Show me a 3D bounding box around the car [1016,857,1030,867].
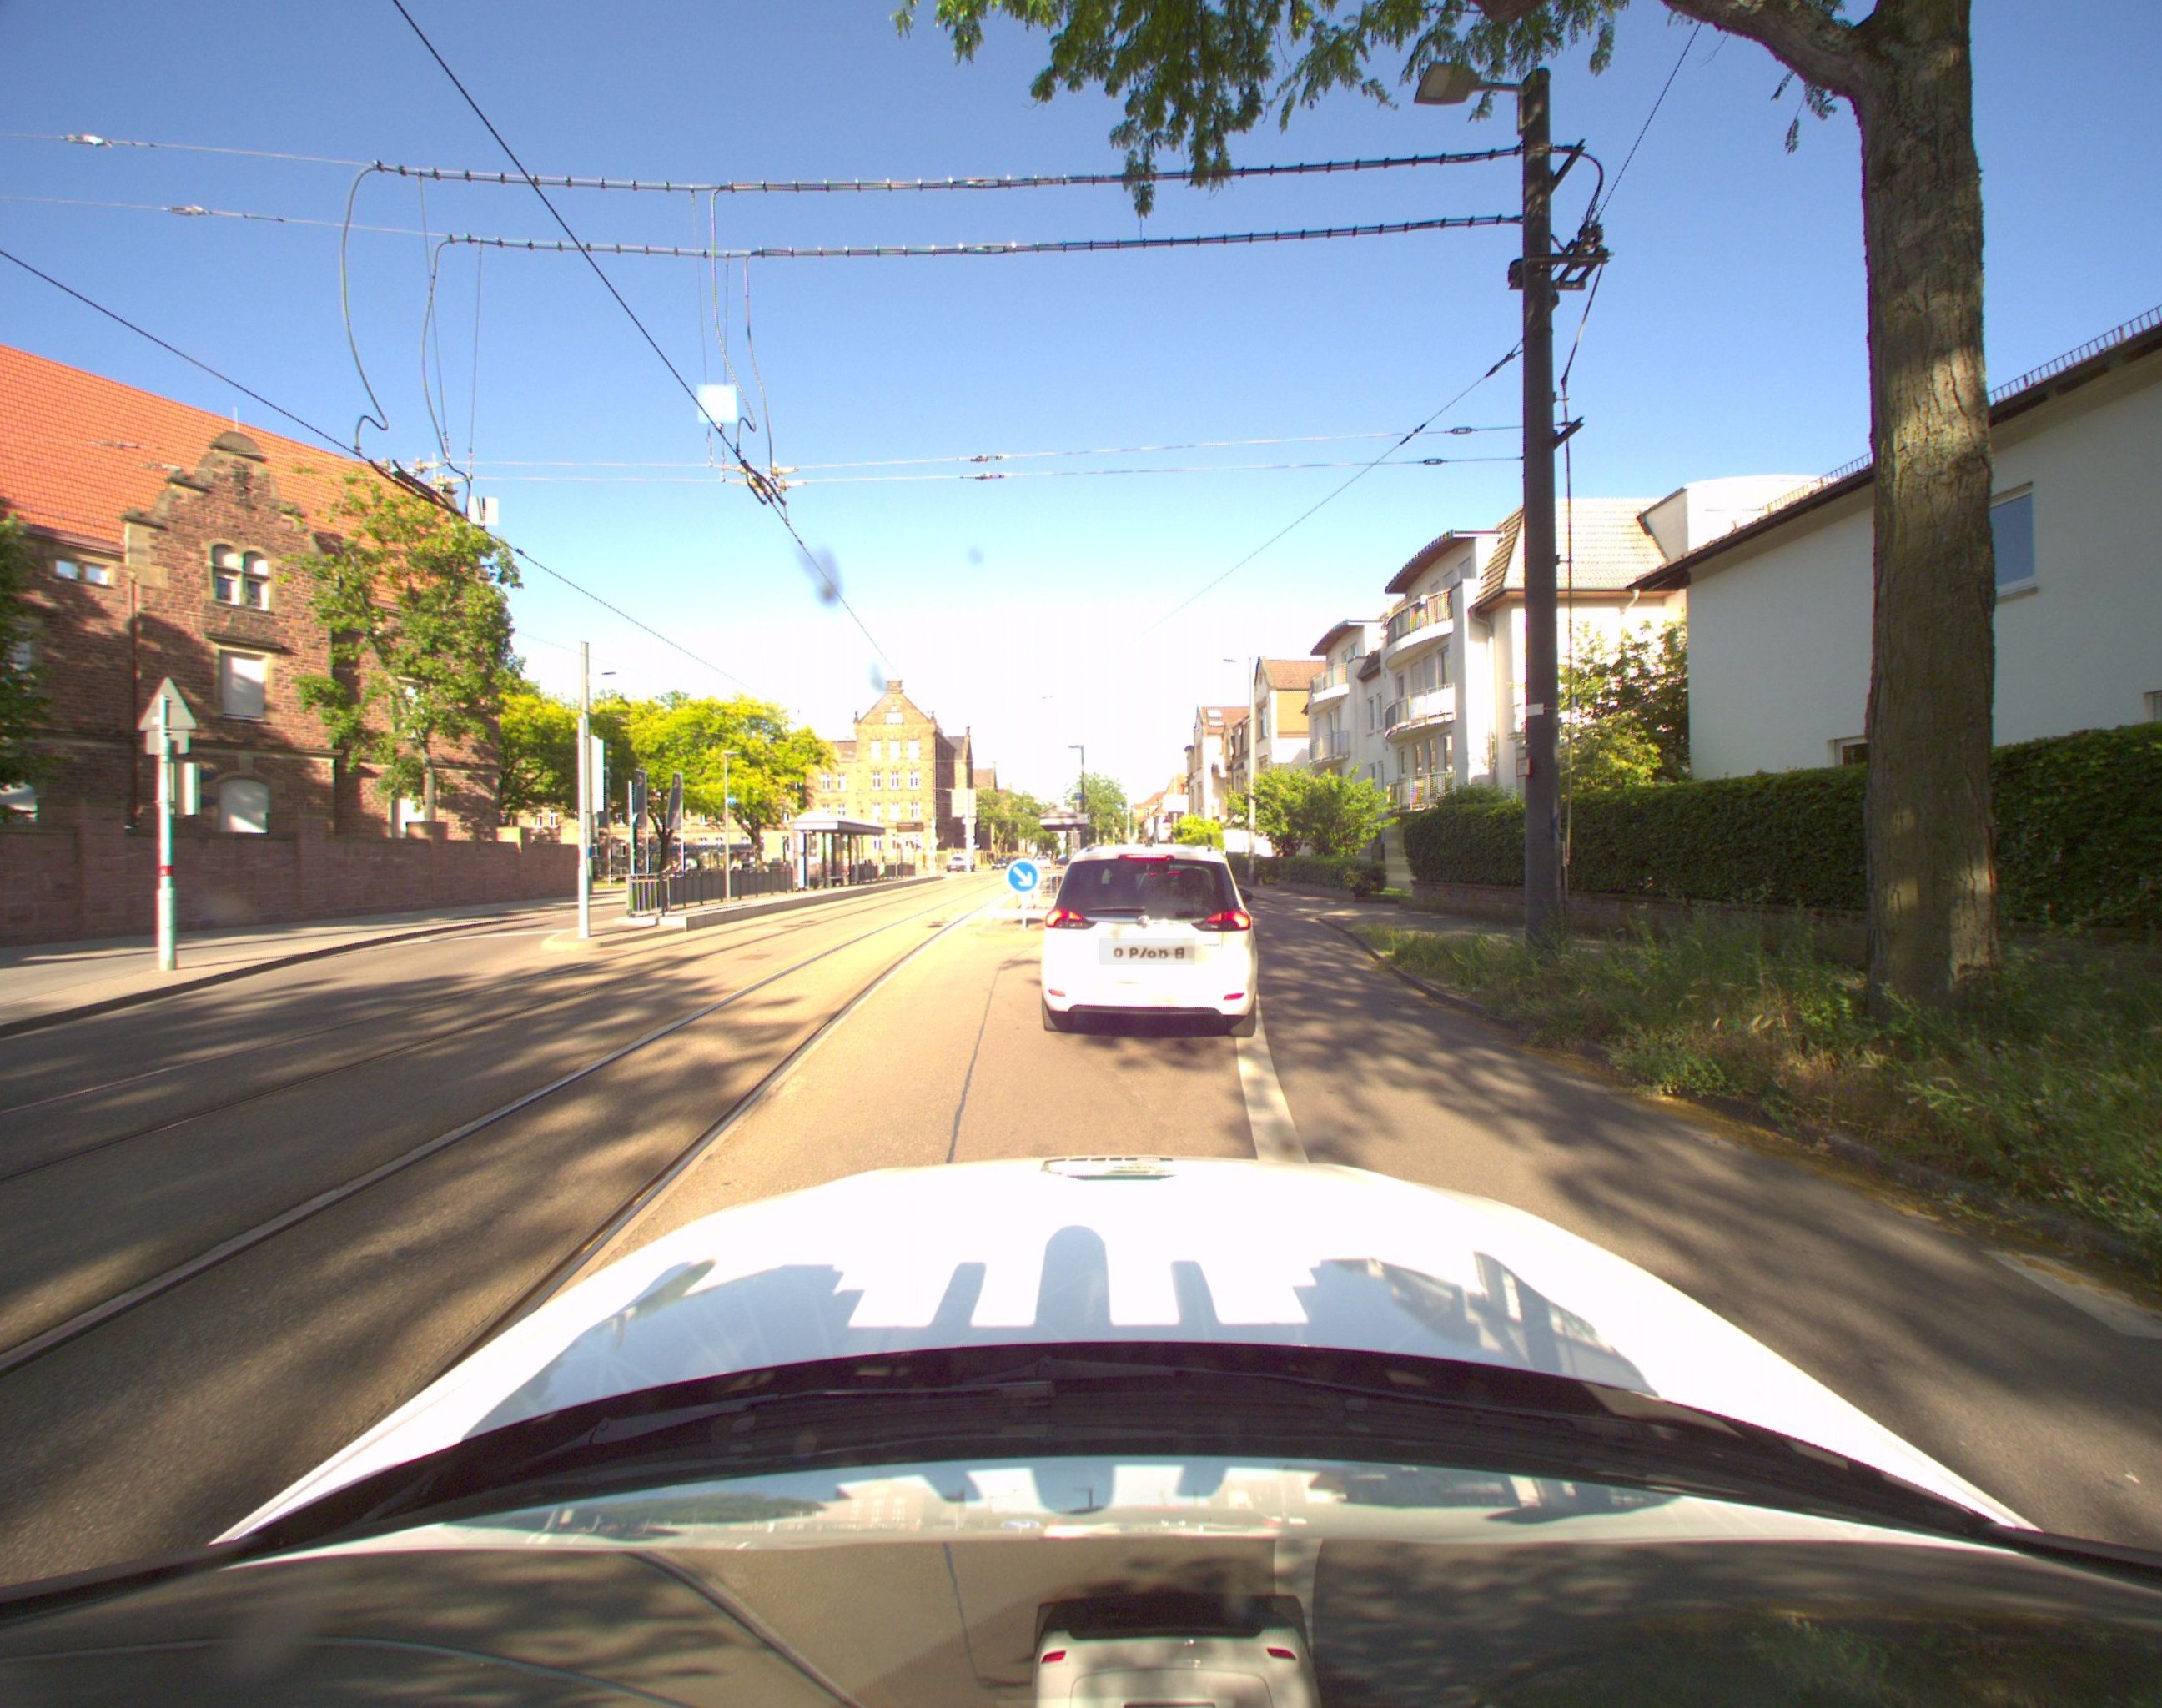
[{"bbox_3d":[-8.470,1.152,119.278,1.822,1.446,4.323,-1,-1,-2],"label":"car"}]

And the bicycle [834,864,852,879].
[{"bbox_3d":[-17.257,1.260,59.084,0.667,1.072,2.014,0,0,-1],"label":"bicycle"}]

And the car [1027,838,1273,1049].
[{"bbox_3d":[0.770,0.672,8.202,1.868,1.585,4.008,0,0,7],"label":"car"}]

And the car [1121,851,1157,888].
[{"bbox_3d":[2.778,0.713,39.685,1.590,1.635,3.903,1,1,2],"label":"car"}]

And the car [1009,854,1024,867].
[{"bbox_3d":[-8.631,0.906,109.473,1.822,1.617,4.324,-1,-1,-2],"label":"car"}]

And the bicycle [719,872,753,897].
[{"bbox_3d":[-16.238,1.450,38.398,0.681,1.089,1.856,-4,-3,3],"label":"bicycle"}]

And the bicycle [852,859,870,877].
[{"bbox_3d":[-16.068,0.995,59.453,0.775,1.231,2.087,-1,0,-2],"label":"bicycle"}]

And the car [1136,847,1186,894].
[{"bbox_3d":[2.960,0.573,30.583,1.590,1.635,3.903,1,0,2],"label":"car"}]

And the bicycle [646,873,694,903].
[{"bbox_3d":[-16.244,1.326,32.244,0.681,1.089,2.066,-1,0,4],"label":"bicycle"}]

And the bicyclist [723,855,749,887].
[{"bbox_3d":[-16.250,0.791,38.399,0.650,1.459,1.153,-1,0,3],"label":"bicyclist"}]

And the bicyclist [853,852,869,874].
[{"bbox_3d":[-16.022,0.664,59.386,0.758,1.536,1.347,-1,0,-1],"label":"bicyclist"}]

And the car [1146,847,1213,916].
[{"bbox_3d":[2.563,0.641,21.113,1.560,1.614,3.792,1,0,7],"label":"car"}]

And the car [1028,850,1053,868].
[{"bbox_3d":[-4.747,0.608,95.047,1.999,2.013,3.976,-1,0,-18],"label":"car"}]

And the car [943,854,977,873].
[{"bbox_3d":[-11.930,0.897,80.650,1.814,1.788,4.270,-1,0,13],"label":"car"}]

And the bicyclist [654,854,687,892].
[{"bbox_3d":[-16.250,0.732,32.285,0.650,1.459,1.153,-1,0,4],"label":"bicyclist"}]

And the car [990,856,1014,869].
[{"bbox_3d":[-9.211,0.957,95.715,1.788,1.382,4.505,-1,0,8],"label":"car"}]

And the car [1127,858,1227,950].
[{"bbox_3d":[1.775,0.801,14.875,1.560,1.401,3.792,1,0,7],"label":"car"}]

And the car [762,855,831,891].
[{"bbox_3d":[-13.978,0.894,40.253,1.812,1.607,4.359,-1,0,0],"label":"car"}]
